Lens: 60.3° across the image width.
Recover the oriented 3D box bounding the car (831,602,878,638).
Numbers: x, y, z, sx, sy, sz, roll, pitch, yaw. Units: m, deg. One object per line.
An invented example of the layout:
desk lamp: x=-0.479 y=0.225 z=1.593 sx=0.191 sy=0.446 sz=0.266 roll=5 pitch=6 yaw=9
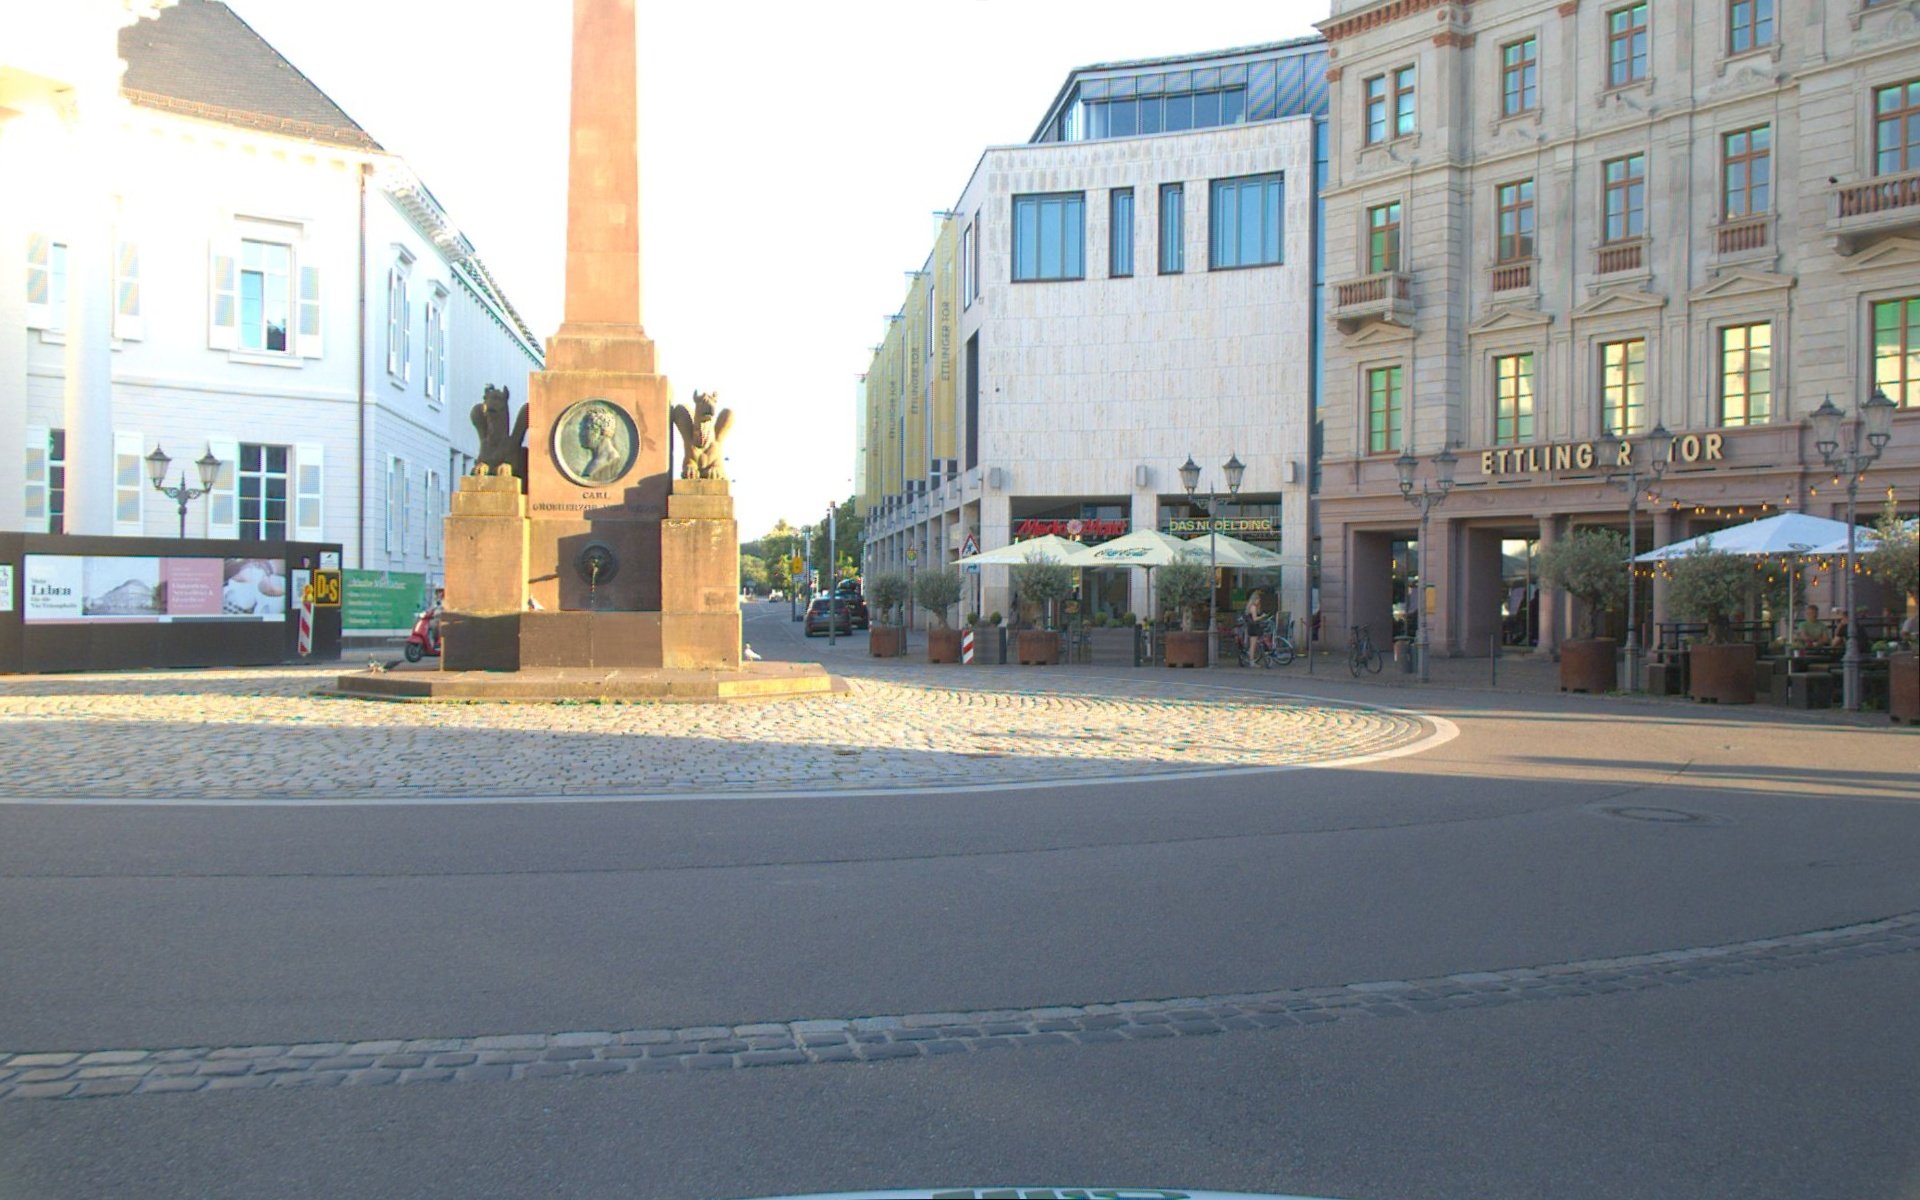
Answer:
car: x=-4.670 y=0.848 z=72.727 sx=1.955 sy=1.489 sz=3.995 roll=0 pitch=0 yaw=-5

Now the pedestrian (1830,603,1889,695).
pedestrian: x=14.942 y=0.807 z=27.482 sx=0.575 sy=1.504 sz=0.683 roll=0 pitch=0 yaw=-4

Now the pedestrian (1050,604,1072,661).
pedestrian: x=2.555 y=0.824 z=41.843 sx=0.496 sy=1.422 sz=0.496 roll=0 pitch=0 yaw=8

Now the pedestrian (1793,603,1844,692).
pedestrian: x=14.767 y=0.805 z=28.454 sx=0.533 sy=1.504 sz=0.623 roll=0 pitch=0 yaw=-6

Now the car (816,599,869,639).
car: x=-4.594 y=0.722 z=64.212 sx=1.955 sy=1.489 sz=3.995 roll=0 pitch=0 yaw=-5

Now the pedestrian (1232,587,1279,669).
pedestrian: x=6.478 y=0.602 z=36.258 sx=0.886 sy=1.759 sz=0.850 roll=0 pitch=0 yaw=1

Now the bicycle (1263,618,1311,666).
bicycle: x=7.404 y=0.940 z=37.450 sx=0.607 sy=1.050 sz=1.643 roll=0 pitch=0 yaw=28

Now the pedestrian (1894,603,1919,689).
pedestrian: x=17.031 y=0.805 z=29.361 sx=0.577 sy=1.504 sz=0.624 roll=0 pitch=0 yaw=4

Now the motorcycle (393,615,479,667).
motorcycle: x=-11.079 y=0.862 z=35.012 sx=0.590 sy=1.050 sz=1.748 roll=0 pitch=0 yaw=35

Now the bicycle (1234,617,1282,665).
bicycle: x=6.802 y=0.921 z=37.695 sx=0.588 sy=1.050 sz=1.643 roll=0 pitch=0 yaw=28

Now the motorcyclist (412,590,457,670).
motorcyclist: x=-11.106 y=0.623 z=34.955 sx=0.590 sy=1.681 sz=0.689 roll=0 pitch=0 yaw=36

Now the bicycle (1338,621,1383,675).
bicycle: x=8.251 y=0.978 z=34.039 sx=0.497 sy=1.050 sz=1.643 roll=0 pitch=0 yaw=28
